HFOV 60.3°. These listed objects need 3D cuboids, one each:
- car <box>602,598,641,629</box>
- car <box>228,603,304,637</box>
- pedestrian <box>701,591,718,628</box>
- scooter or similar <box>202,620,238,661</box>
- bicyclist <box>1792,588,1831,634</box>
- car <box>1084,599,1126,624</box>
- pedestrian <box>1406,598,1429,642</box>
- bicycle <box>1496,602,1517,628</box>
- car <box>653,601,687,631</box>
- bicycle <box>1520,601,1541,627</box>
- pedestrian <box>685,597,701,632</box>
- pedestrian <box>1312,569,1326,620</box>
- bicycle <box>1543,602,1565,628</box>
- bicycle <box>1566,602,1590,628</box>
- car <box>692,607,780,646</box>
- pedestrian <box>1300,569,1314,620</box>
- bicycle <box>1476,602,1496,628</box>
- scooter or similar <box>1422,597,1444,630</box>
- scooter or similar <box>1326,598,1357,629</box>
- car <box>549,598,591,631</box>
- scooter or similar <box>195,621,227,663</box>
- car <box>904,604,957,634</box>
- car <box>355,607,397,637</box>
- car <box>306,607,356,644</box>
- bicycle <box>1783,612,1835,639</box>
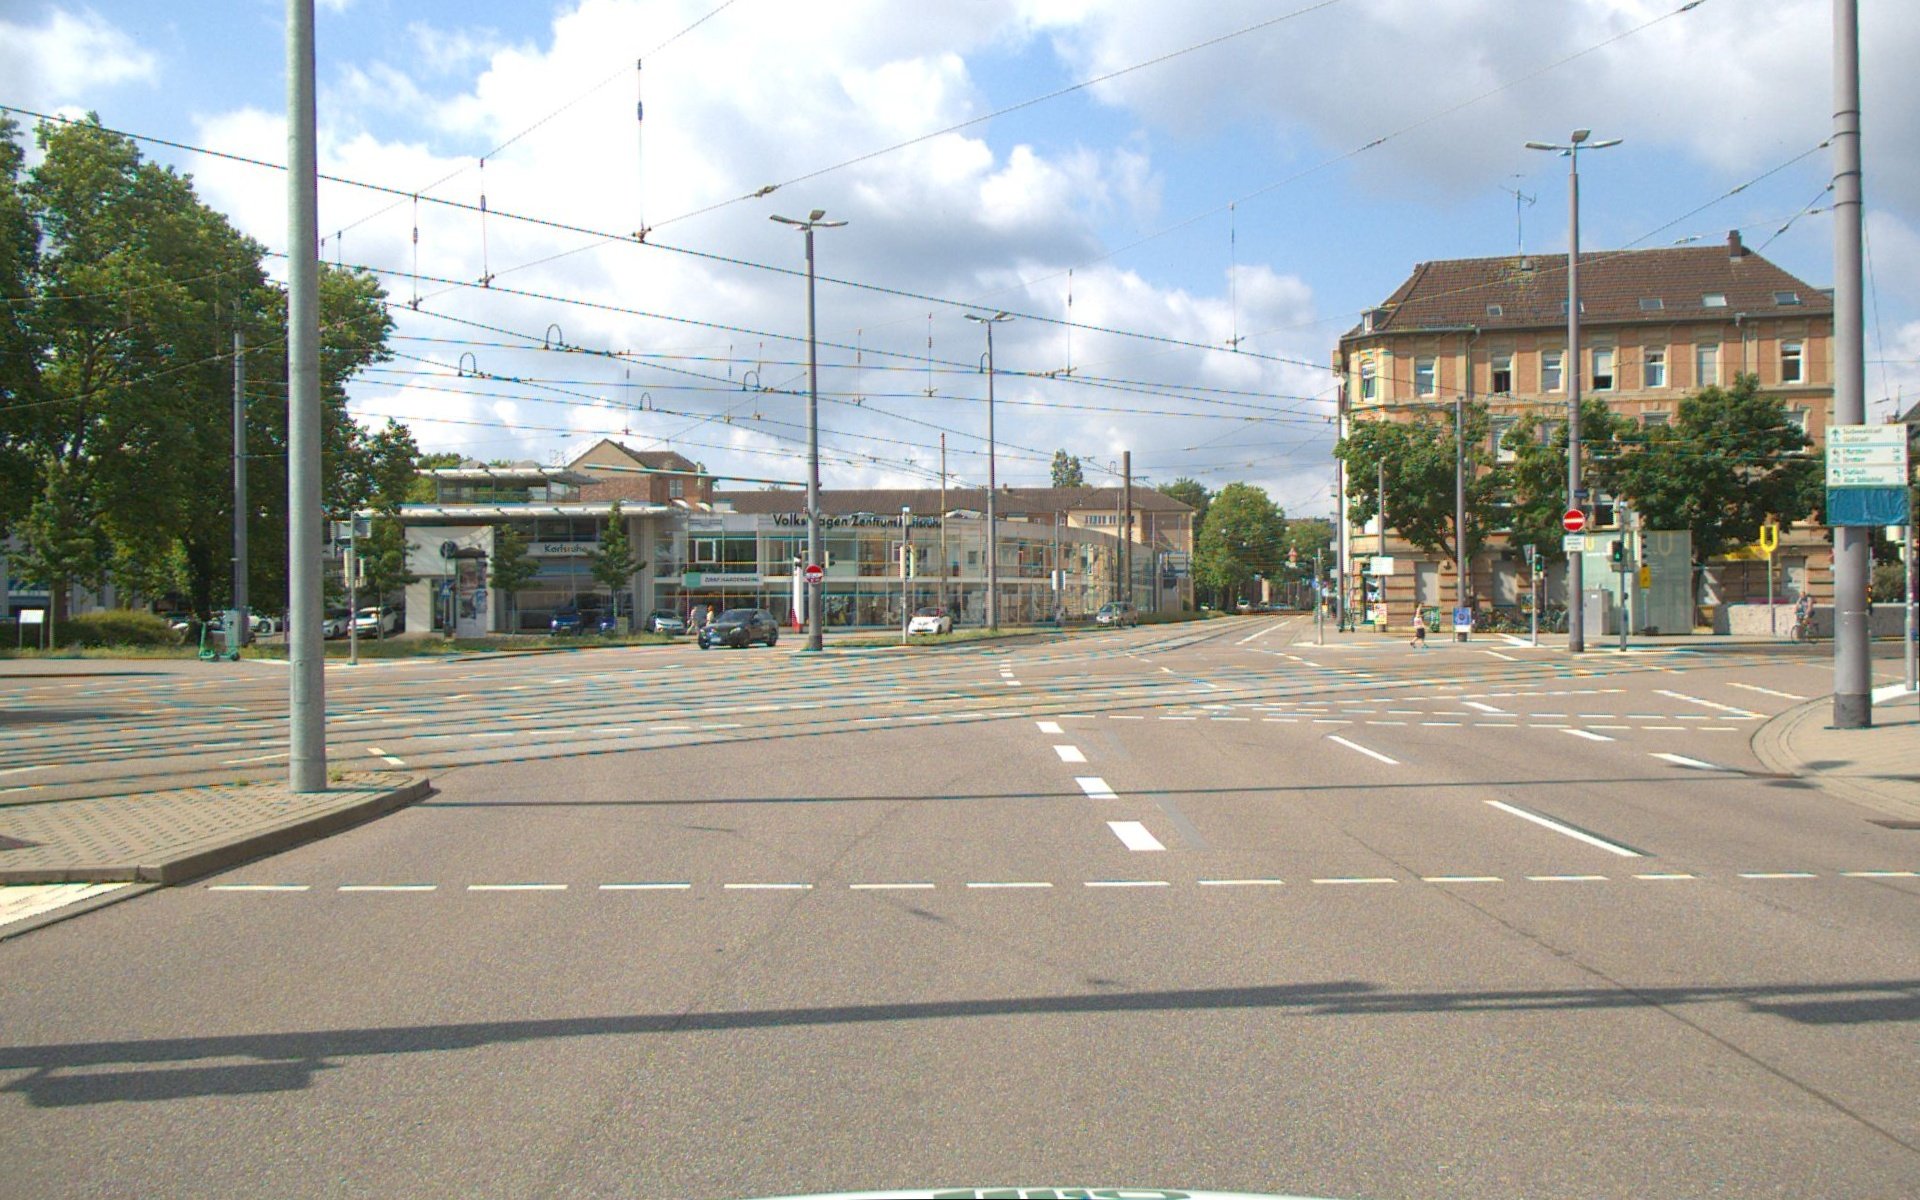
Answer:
[{"bbox_3d":[-19.838,0.829,97.132,1.956,1.756,3.992,1,-1,-8],"label":"car"},{"bbox_3d":[-43.505,1.265,103.736,3.904,2.049,2.000,1,-1,3],"label":"car"},{"bbox_3d":[-14.151,0.525,93.473,0.791,2.049,0.808,-1,0,-1],"label":"pedestrian"},{"bbox_3d":[-22.408,1.236,50.070,1.040,1.217,0.381,1,-1,25],"label":"scooter or similar"},{"bbox_3d":[32.024,0.398,62.205,1.124,1.704,0.613,-1,-1,-11],"label":"bicyclist"},{"bbox_3d":[9.591,0.742,109.248,1.952,1.601,3.738,-1,0,18],"label":"car"},{"bbox_3d":[16.123,0.695,58.256,0.725,1.542,0.545,-1,-1,21],"label":"pedestrian"},{"bbox_3d":[25.787,0.705,78.044,0.742,1.186,2.687,-1,0,15],"label":"bicycle"},{"bbox_3d":[-17.398,0.988,99.133,1.894,1.713,3.989,1,-1,-11],"label":"car"},{"bbox_3d":[26.742,0.673,77.546,0.742,1.186,2.686,1,-1,15],"label":"bicycle"},{"bbox_3d":[-15.496,0.833,96.021,0.853,2.049,0.702,0,0,-11],"label":"pedestrian"},{"bbox_3d":[22.581,-0.334,103.957,0.710,3.130,0.887,1,-1,22],"label":"pedestrian"},{"bbox_3d":[27.752,0.702,77.312,0.742,1.186,2.687,-1,0,15],"label":"bicycle"},{"bbox_3d":[28.913,0.707,77.414,0.742,1.186,2.687,-1,0,15],"label":"bicycle"},{"bbox_3d":[-8.350,0.987,61.993,1.825,1.400,3.943,-1,0,16],"label":"car"},{"bbox_3d":[21.866,-0.342,104.285,0.652,3.175,0.887,1,-1,22],"label":"pedestrian"},{"bbox_3d":[24.862,0.715,78.240,0.742,1.186,2.687,-1,0,15],"label":"bicycle"},{"bbox_3d":[22.383,0.638,78.285,0.859,1.508,2.016,-1,0,13],"label":"scooter or similar"},{"bbox_3d":[18.483,0.662,80.170,1.151,1.410,2.806,1,-1,7],"label":"scooter or similar"},{"bbox_3d":[-22.971,0.886,97.522,1.955,1.870,3.994,-1,-1,-7],"label":"car"},{"bbox_3d":[-22.426,1.252,49.513,1.043,1.217,0.380,0,-2,35],"label":"scooter or similar"},{"bbox_3d":[-1.525,1.015,86.619,1.650,1.496,3.657,1,-1,18],"label":"car"},{"bbox_3d":[-34.502,1.255,97.795,1.753,1.712,3.990,0,0,-10],"label":"car"},{"bbox_3d":[-36.926,1.476,97.238,1.958,2.049,3.989,2,-1,-10],"label":"car"},{"bbox_3d":[31.984,0.968,62.305,1.750,0.973,0.840,-1,-2,-24],"label":"bicycle"}]
